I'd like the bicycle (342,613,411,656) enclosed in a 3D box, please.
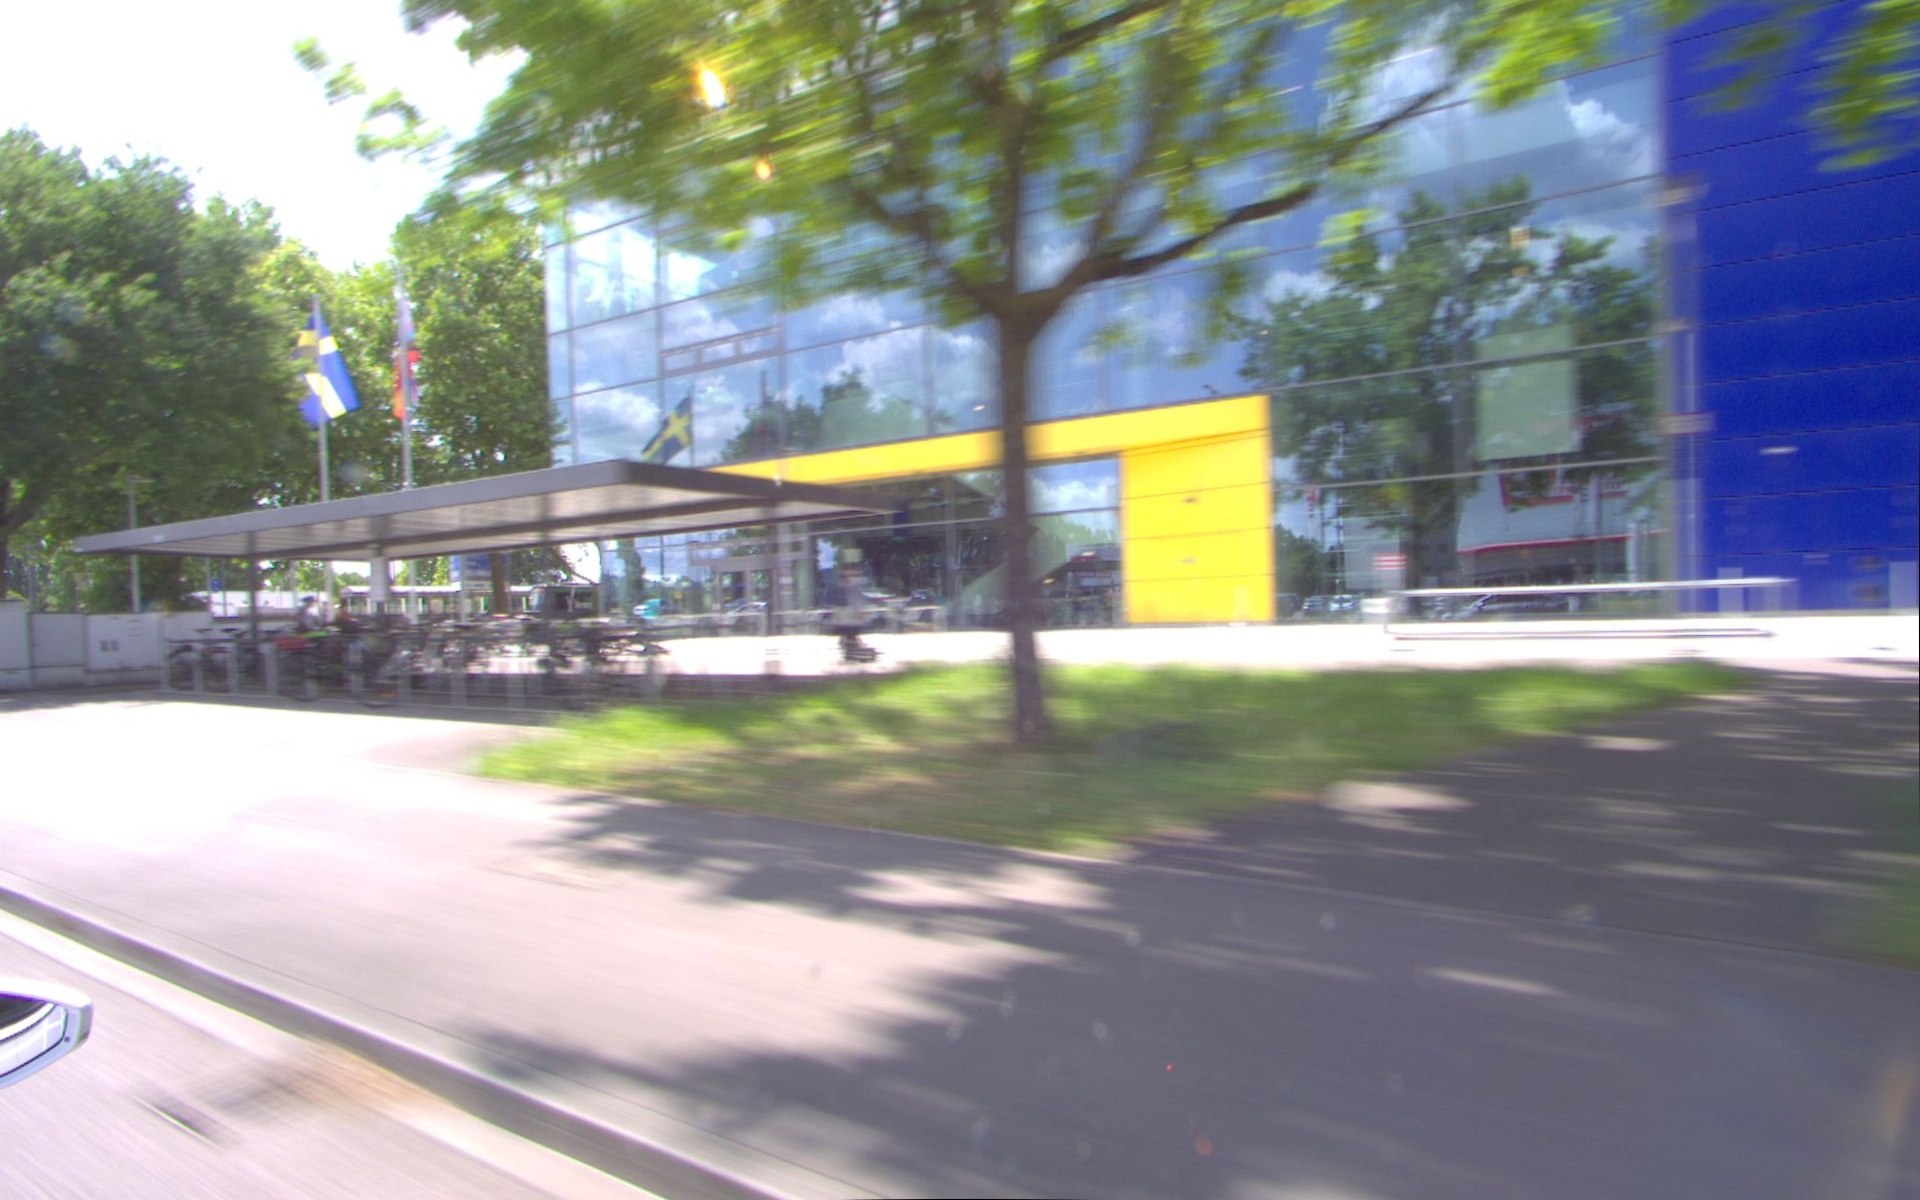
[{"bbox_3d":[-16.982,0.995,29.202,0.495,1.122,1.923,-3,1,14],"label":"bicycle"}]

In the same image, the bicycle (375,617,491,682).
[{"bbox_3d":[-9.228,0.845,17.611,0.417,1.008,1.860,-2,0,27],"label":"bicycle"}]

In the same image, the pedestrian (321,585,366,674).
[{"bbox_3d":[-11.878,0.566,19.304,0.471,1.685,0.543,0,1,30],"label":"pedestrian"}]

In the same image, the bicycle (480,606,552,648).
[{"bbox_3d":[-11.812,0.713,26.711,0.417,1.008,1.859,-2,1,27],"label":"bicycle"}]

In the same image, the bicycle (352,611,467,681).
[{"bbox_3d":[-9.798,0.802,17.906,0.417,1.131,1.860,-1,1,27],"label":"bicycle"}]

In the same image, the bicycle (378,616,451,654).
[{"bbox_3d":[-15.740,0.985,28.943,0.418,1.008,1.857,0,1,33],"label":"bicycle"}]

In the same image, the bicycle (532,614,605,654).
[{"bbox_3d":[-9.820,0.840,25.174,0.417,0.894,1.860,-1,2,27],"label":"bicycle"}]

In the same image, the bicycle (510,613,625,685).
[{"bbox_3d":[-6.285,0.766,16.134,0.417,1.008,1.859,-2,2,27],"label":"bicycle"}]

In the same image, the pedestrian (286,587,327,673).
[{"bbox_3d":[-12.939,0.584,19.826,0.540,1.685,0.541,0,1,43],"label":"pedestrian"}]

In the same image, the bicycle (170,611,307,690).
[{"bbox_3d":[-12.258,0.833,17.084,0.417,1.204,1.860,-1,2,27],"label":"bicycle"}]

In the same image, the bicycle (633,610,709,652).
[{"bbox_3d":[-6.752,0.709,23.454,0.464,0.894,1.857,0,2,32],"label":"bicycle"}]

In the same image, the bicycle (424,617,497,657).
[{"bbox_3d":[-13.759,1.001,27.639,0.457,1.008,1.860,0,1,28],"label":"bicycle"}]

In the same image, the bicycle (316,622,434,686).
[{"bbox_3d":[-10.489,0.938,18.023,0.417,1.008,1.860,-1,2,27],"label":"bicycle"}]

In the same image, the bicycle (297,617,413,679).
[{"bbox_3d":[-11.391,0.882,18.916,0.418,1.048,1.857,0,1,33],"label":"bicycle"}]

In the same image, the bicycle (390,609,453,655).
[{"bbox_3d":[-15.083,0.882,28.074,0.453,1.173,1.678,-1,1,18],"label":"bicycle"}]

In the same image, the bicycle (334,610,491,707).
[{"bbox_3d":[-7.501,0.765,13.828,0.418,1.186,1.890,0,2,33],"label":"bicycle"}]

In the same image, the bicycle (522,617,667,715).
[{"bbox_3d":[-4.445,0.766,12.329,0.417,1.008,1.859,-1,3,27],"label":"bicycle"}]

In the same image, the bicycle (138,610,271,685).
[{"bbox_3d":[-13.359,0.815,17.772,0.417,1.203,1.860,0,1,27],"label":"bicycle"}]

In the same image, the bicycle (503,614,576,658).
[{"bbox_3d":[-10.728,0.905,25.627,0.417,1.008,1.860,-1,1,27],"label":"bicycle"}]

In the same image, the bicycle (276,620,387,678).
[{"bbox_3d":[-12.197,0.923,19.492,0.417,1.008,1.860,0,1,27],"label":"bicycle"}]

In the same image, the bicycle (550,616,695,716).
[{"bbox_3d":[-4.020,0.754,12.098,0.417,1.008,1.859,-1,2,27],"label":"bicycle"}]

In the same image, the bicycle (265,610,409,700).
[{"bbox_3d":[-9.318,0.788,15.064,0.417,1.204,1.860,-1,2,27],"label":"bicycle"}]

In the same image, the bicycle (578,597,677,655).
[{"bbox_3d":[-7.878,0.591,23.815,0.713,1.246,2.128,0,2,42],"label":"bicycle"}]

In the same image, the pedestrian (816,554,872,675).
[{"bbox_3d":[-1.726,0.210,14.863,0.624,1.744,0.523,-3,1,-22],"label":"pedestrian"}]

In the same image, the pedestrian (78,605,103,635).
[{"bbox_3d":[-53.135,1.200,61.180,0.725,1.831,0.925,0,1,31],"label":"pedestrian"}]

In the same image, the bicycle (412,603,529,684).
[{"bbox_3d":[-8.232,0.700,16.925,0.417,1.248,1.860,0,2,27],"label":"bicycle"}]

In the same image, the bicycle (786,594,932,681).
[{"bbox_3d":[-1.451,0.522,14.494,1.980,1.123,0.575,-3,2,-20],"label":"bicycle"}]

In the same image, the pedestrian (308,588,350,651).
[{"bbox_3d":[-21.651,0.666,34.353,1.000,2.099,0.965,-2,0,-43],"label":"pedestrian"}]

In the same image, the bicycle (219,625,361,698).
[{"bbox_3d":[-10.522,0.937,15.803,0.417,1.008,1.860,-1,2,27],"label":"bicycle"}]

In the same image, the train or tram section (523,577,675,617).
[{"bbox_3d":[-31.032,-0.225,87.262,3.001,3.228,14.040,-1,-1,28],"label":"train or tram section"}]

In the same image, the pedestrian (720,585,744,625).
[{"bbox_3d":[-9.803,0.220,43.003,0.789,1.685,0.703,-2,0,2],"label":"pedestrian"}]

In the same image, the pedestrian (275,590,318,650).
[{"bbox_3d":[-21.813,0.666,32.918,1.000,1.927,0.965,-2,1,-44],"label":"pedestrian"}]

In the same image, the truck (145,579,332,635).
[{"bbox_3d":[-57.181,0.475,79.921,2.910,4.159,11.932,0,0,32],"label":"truck"}]
